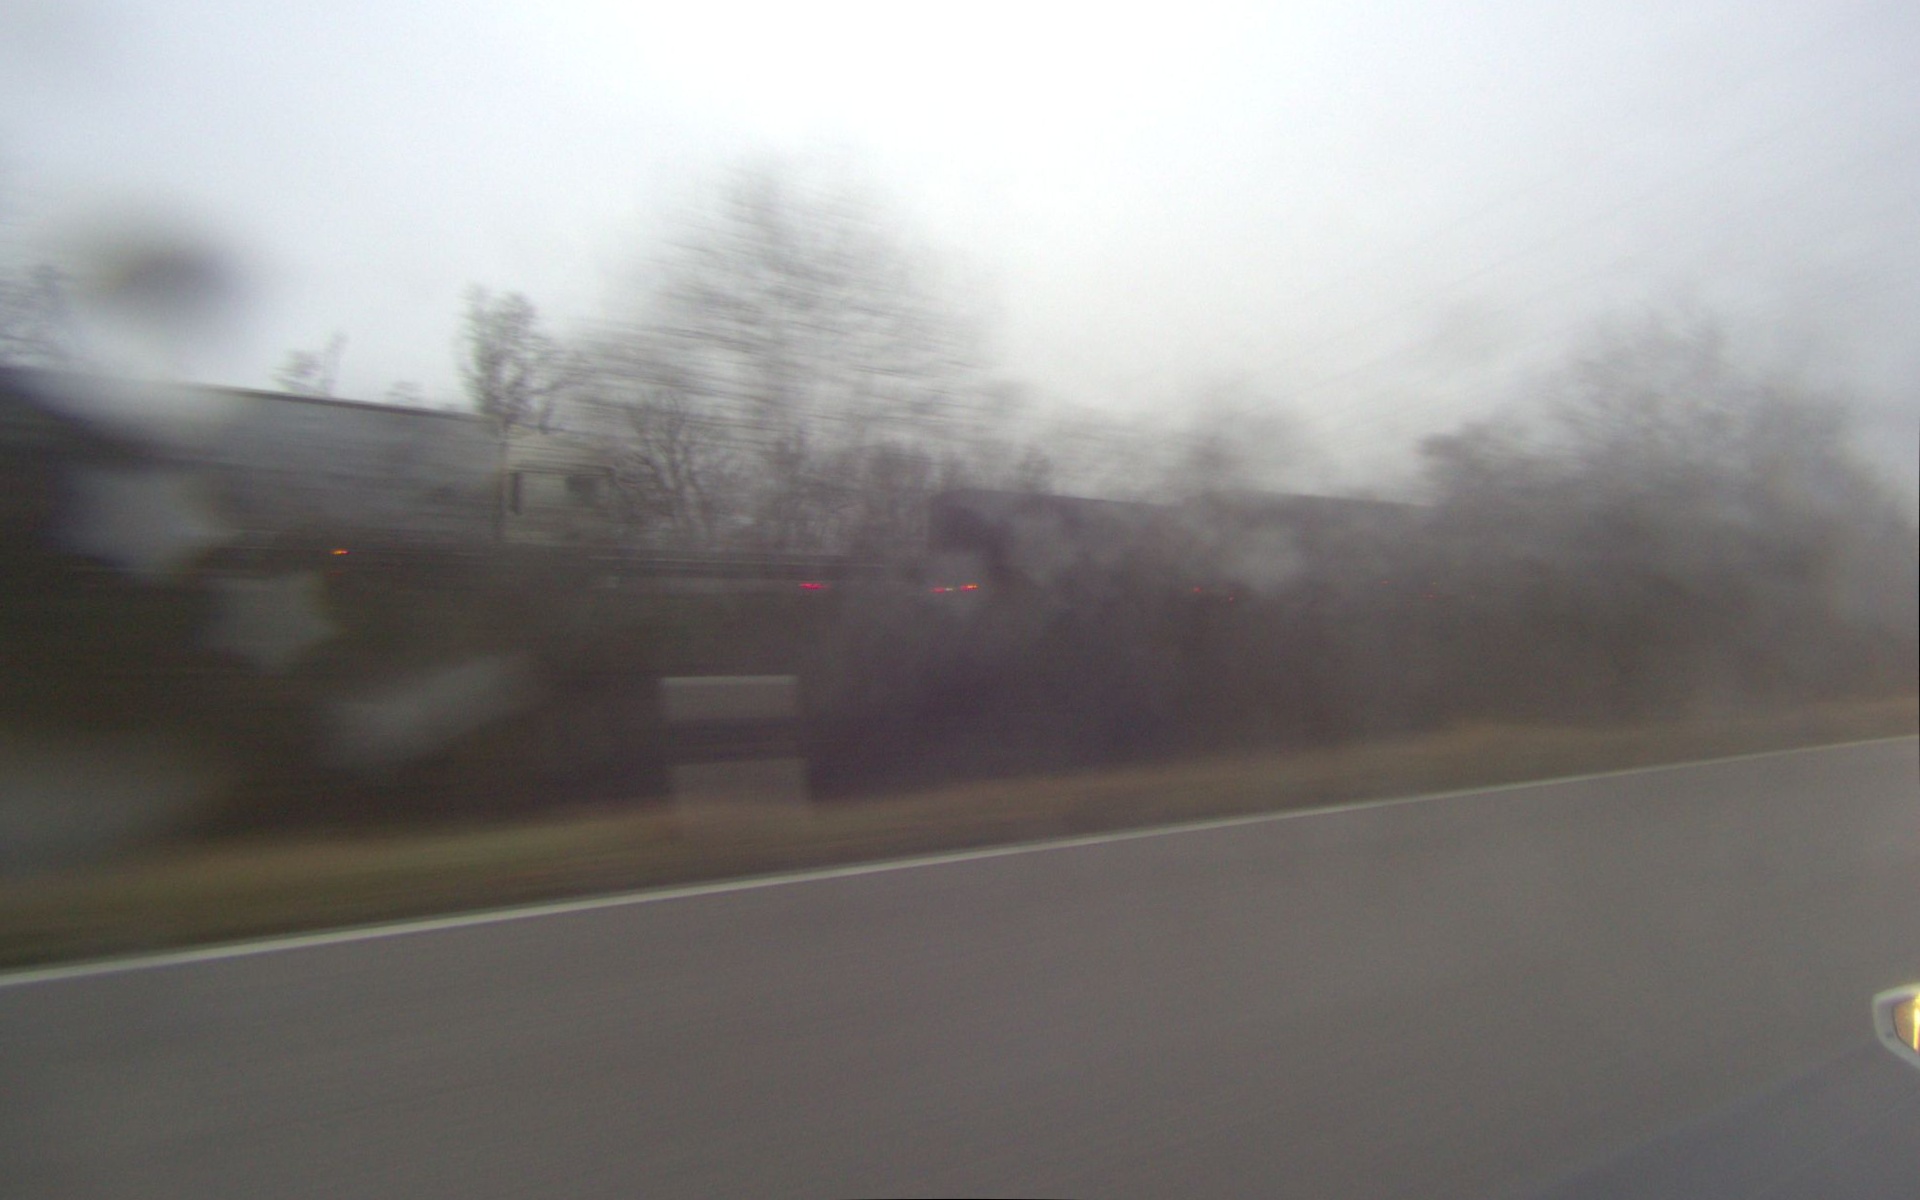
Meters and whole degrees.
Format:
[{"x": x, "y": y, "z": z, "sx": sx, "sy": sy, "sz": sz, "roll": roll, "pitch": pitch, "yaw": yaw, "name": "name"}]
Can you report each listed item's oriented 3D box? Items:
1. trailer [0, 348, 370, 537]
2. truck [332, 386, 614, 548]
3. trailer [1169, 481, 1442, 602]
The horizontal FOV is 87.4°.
[{"x": -17.654, "y": -3.048, "z": 19.153, "sx": 10.956, "sy": 2.929, "sz": 2.424, "roll": 2, "pitch": -1, "yaw": -31, "name": "trailer"}, {"x": -11.064, "y": -2.854, "z": 23.071, "sx": 5.518, "sy": 2.925, "sz": 2.438, "roll": 2, "pitch": -1, "yaw": -30, "name": "truck"}, {"x": 13.048, "y": -1.937, "z": 37.310, "sx": 11.255, "sy": 3.682, "sz": 2.983, "roll": 2, "pitch": 0, "yaw": -31, "name": "trailer"}]
